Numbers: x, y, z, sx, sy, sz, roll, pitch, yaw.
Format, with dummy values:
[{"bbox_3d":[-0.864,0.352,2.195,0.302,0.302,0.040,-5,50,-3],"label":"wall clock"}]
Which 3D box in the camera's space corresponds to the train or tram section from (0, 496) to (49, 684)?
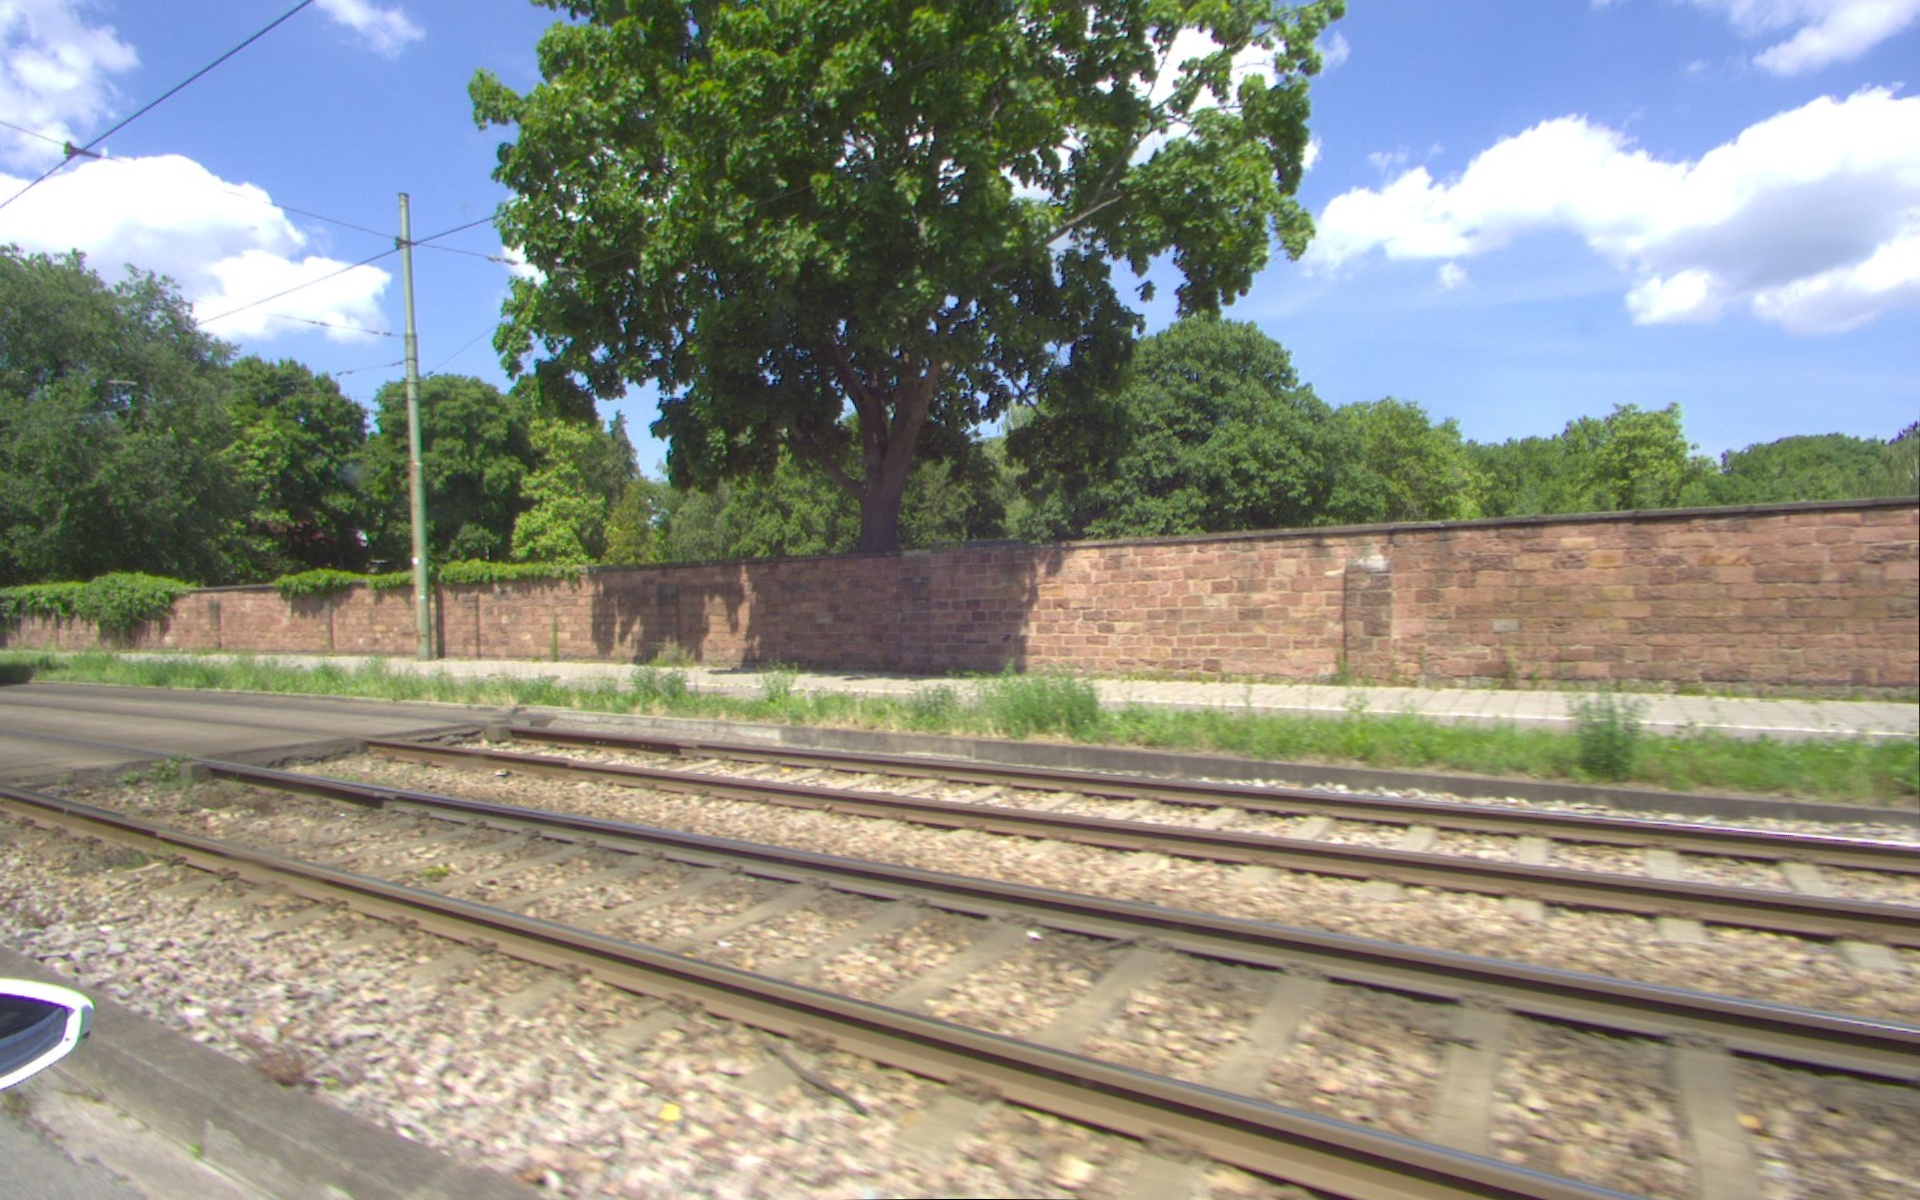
[{"bbox_3d":[-27.544,-0.159,23.292,18.092,3.740,2.943,0,-1,26],"label":"train or tram section"}]
